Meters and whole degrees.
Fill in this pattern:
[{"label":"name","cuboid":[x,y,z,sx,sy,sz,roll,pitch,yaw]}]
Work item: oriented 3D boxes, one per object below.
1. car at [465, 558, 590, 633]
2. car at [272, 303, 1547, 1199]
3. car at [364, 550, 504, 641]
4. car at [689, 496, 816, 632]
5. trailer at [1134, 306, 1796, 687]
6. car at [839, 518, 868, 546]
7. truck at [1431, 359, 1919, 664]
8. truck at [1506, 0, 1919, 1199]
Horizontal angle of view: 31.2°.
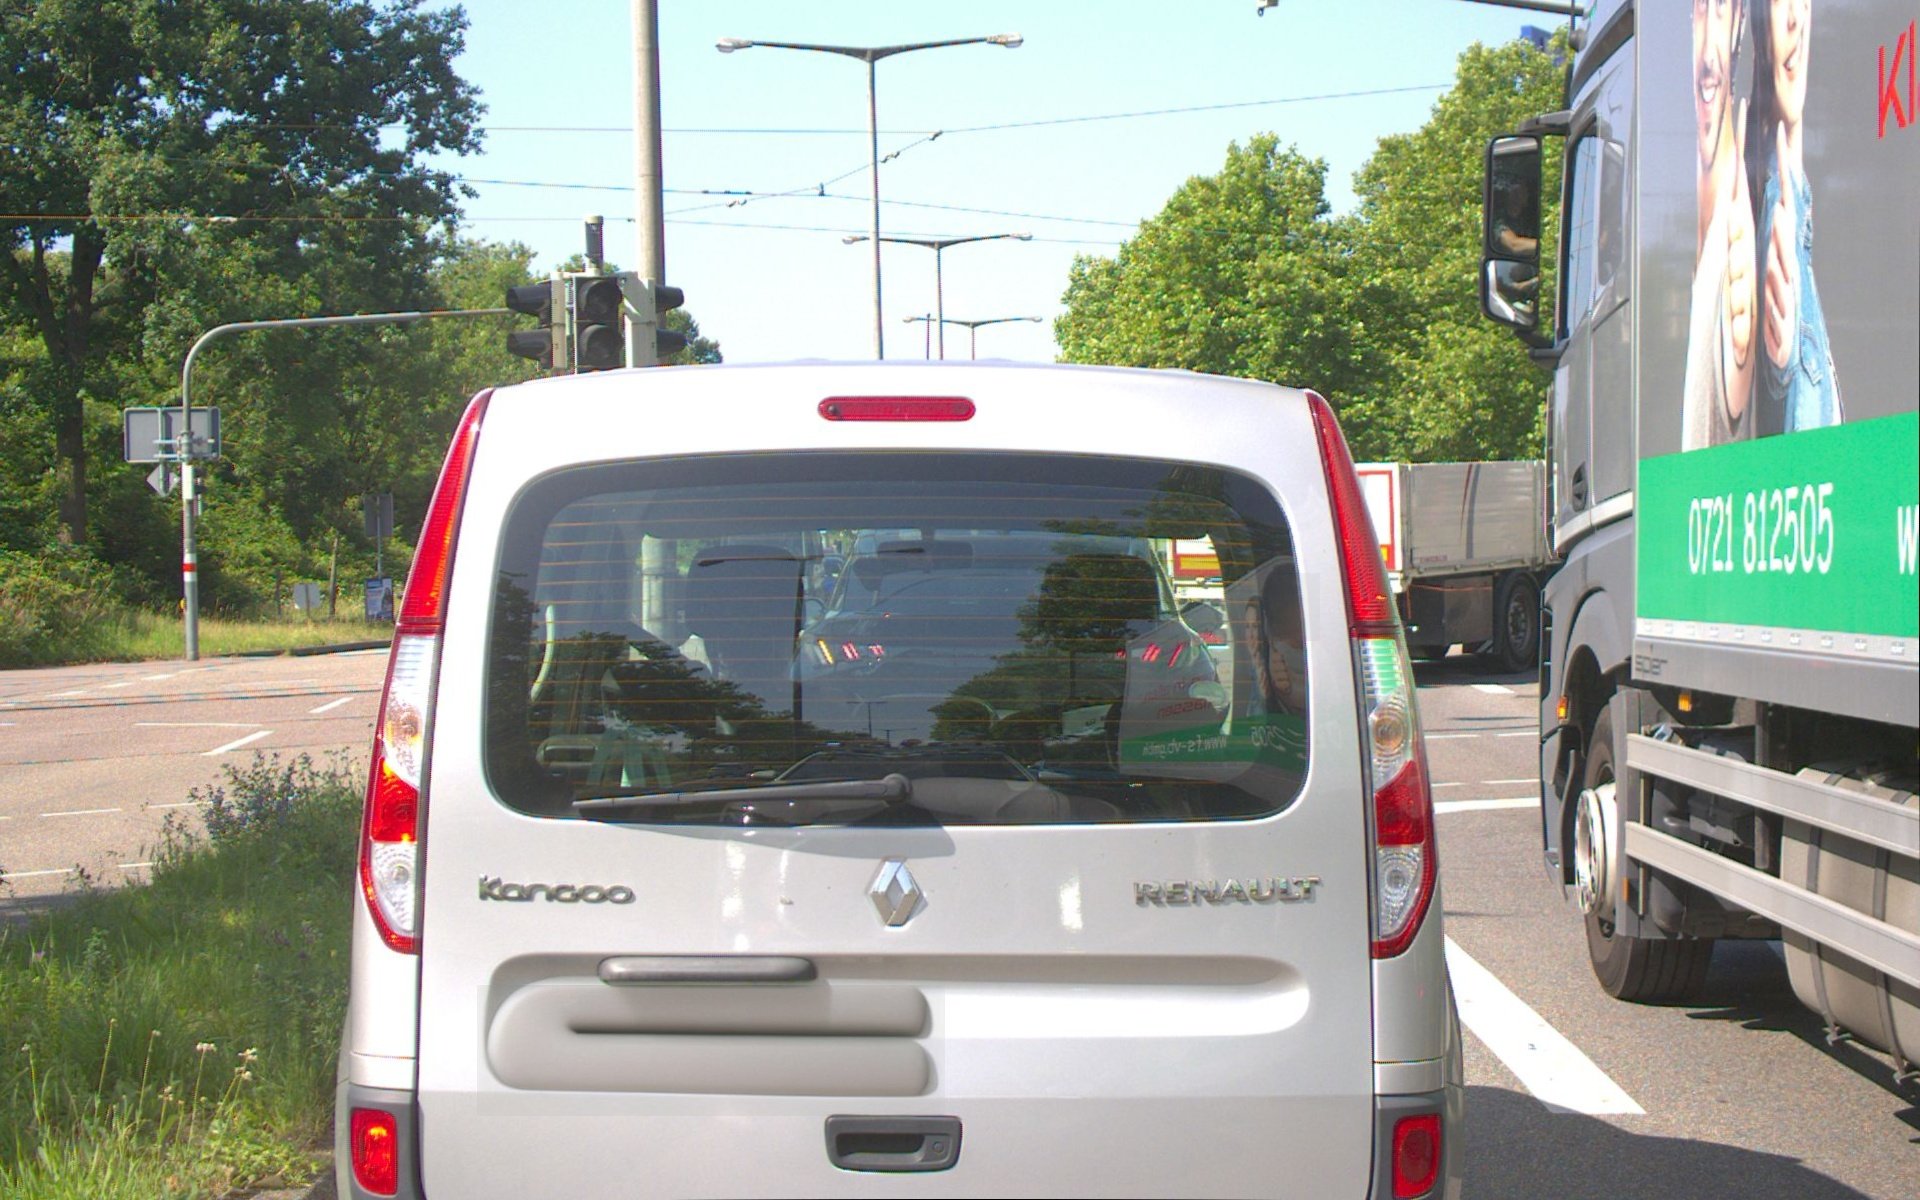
[{"label":"car","cuboid":[-9.391,-0.122,74.909,1.994,1.535,4.236,-2,0,2]},{"label":"car","cuboid":[-0.097,0.490,6.863,1.786,1.831,4.000,1,1,-1]},{"label":"car","cuboid":[-9.926,-0.098,65.090,1.911,1.636,3.737,-2,0,2]},{"label":"car","cuboid":[-4.145,-0.726,69.439,1.994,2.598,5.133,-2,0,2]},{"label":"trailer","cuboid":[6.156,-1.020,38.791,2.905,3.610,12.664,1,1,30]},{"label":"car","cuboid":[-7.842,-5.050,254.179,1.888,2.007,4.000,1,1,2]},{"label":"truck","cuboid":[9.608,-1.058,44.348,7.168,3.630,2.919,0,1,-40]},{"label":"truck","cuboid":[3.282,-0.601,8.491,2.729,3.876,8.722,-1,0,2]}]
